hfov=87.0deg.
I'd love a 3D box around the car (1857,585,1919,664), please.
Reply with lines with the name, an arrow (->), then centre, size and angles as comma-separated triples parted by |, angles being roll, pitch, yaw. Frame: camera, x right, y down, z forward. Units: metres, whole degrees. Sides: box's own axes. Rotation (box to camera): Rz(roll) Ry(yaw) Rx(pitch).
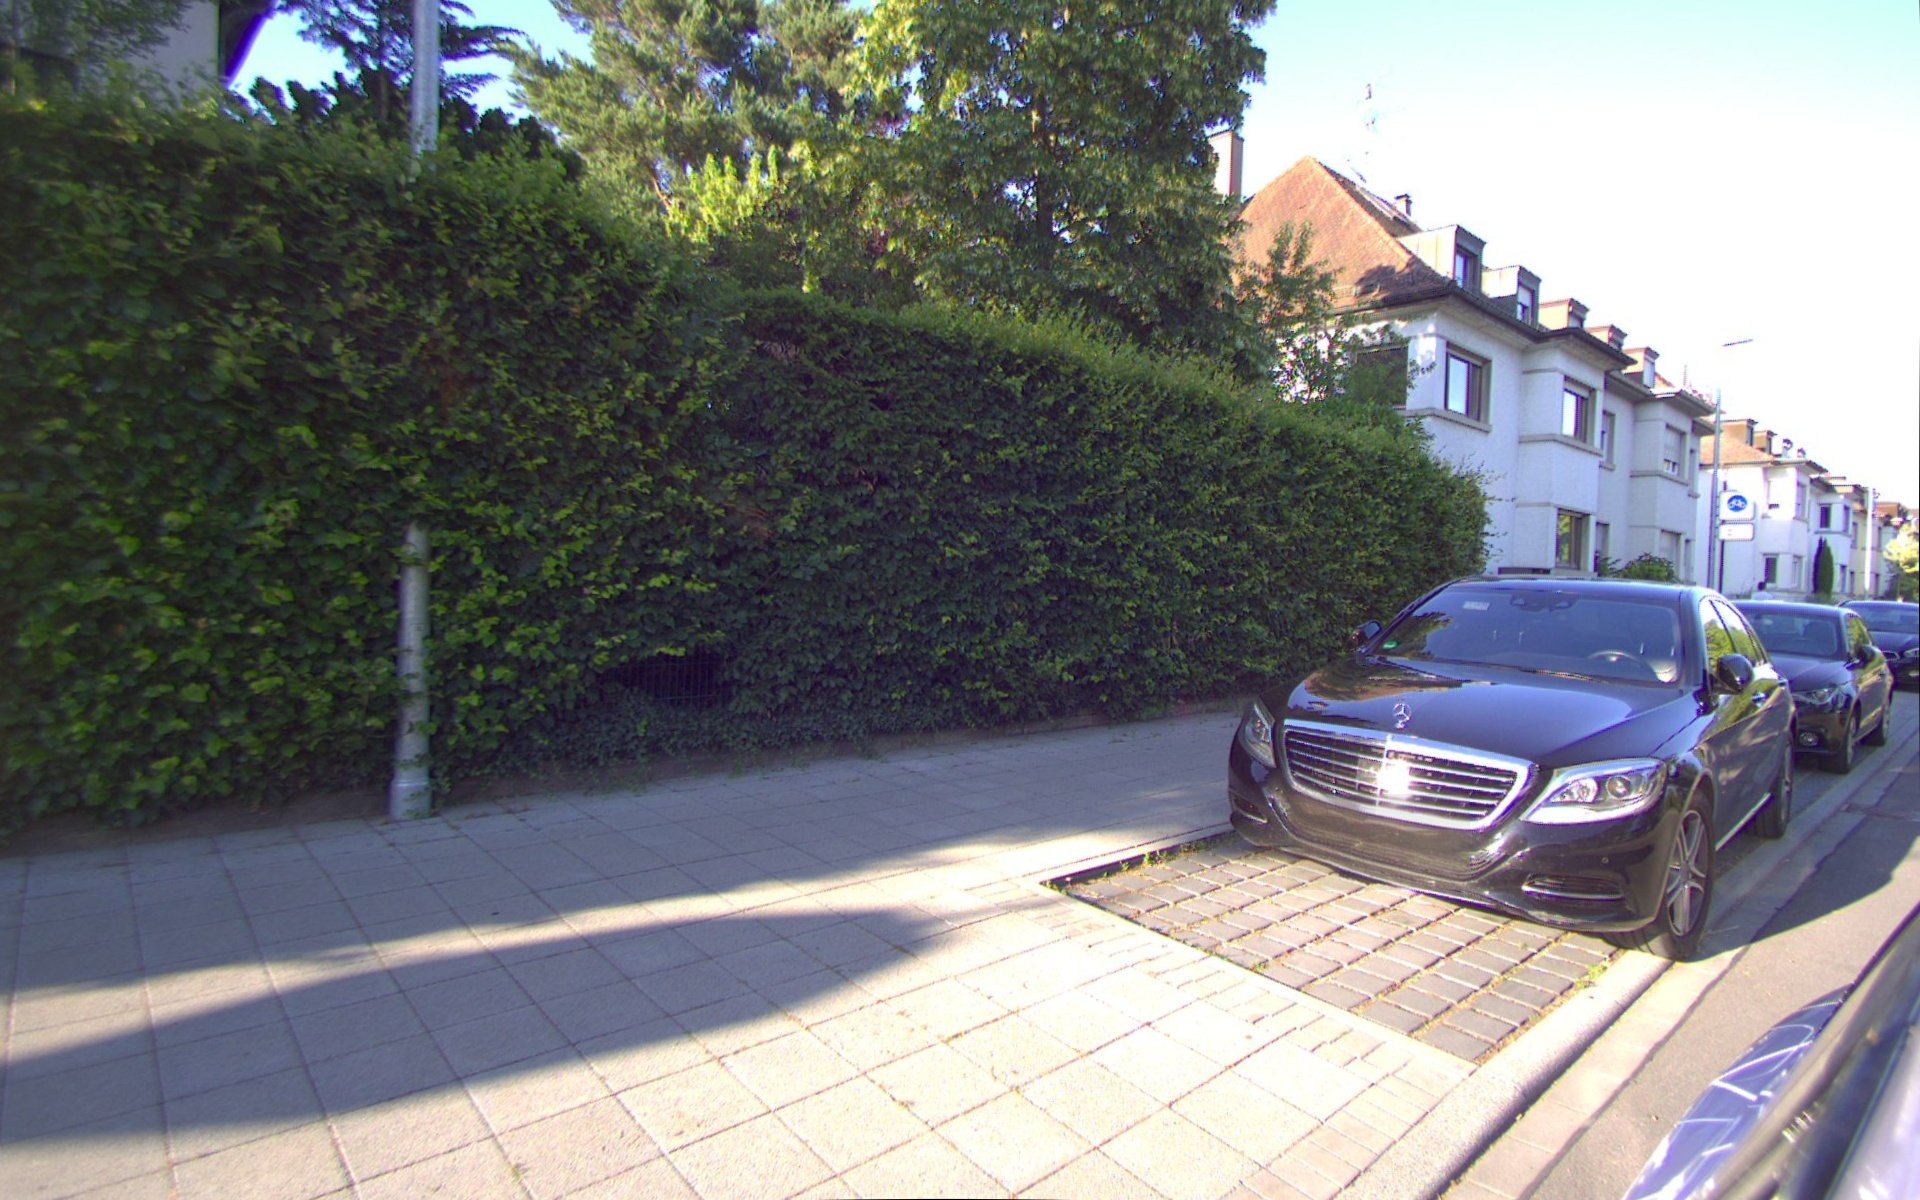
car -> 20.070, 0.493, 21.053 | 3.410, 1.554, 1.679 | 1, 0, -41

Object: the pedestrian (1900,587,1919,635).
pedestrian -> 36.419, 0.426, 38.813 | 0.579, 1.821, 0.530 | 0, 0, -44

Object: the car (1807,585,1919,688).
car -> 16.188, 0.588, 17.579 | 4.007, 1.616, 1.793 | 1, 0, -43

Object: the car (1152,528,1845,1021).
car -> 3.324, 0.502, 5.632 | 4.835, 1.516, 2.006 | 0, 4, -45

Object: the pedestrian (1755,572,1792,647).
pedestrian -> 20.548, 0.233, 25.567 | 0.809, 1.869, 0.587 | -1, 0, -41

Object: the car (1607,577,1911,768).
car -> 7.951, 0.573, 9.941 | 3.932, 1.496, 1.781 | 0, 0, -43
